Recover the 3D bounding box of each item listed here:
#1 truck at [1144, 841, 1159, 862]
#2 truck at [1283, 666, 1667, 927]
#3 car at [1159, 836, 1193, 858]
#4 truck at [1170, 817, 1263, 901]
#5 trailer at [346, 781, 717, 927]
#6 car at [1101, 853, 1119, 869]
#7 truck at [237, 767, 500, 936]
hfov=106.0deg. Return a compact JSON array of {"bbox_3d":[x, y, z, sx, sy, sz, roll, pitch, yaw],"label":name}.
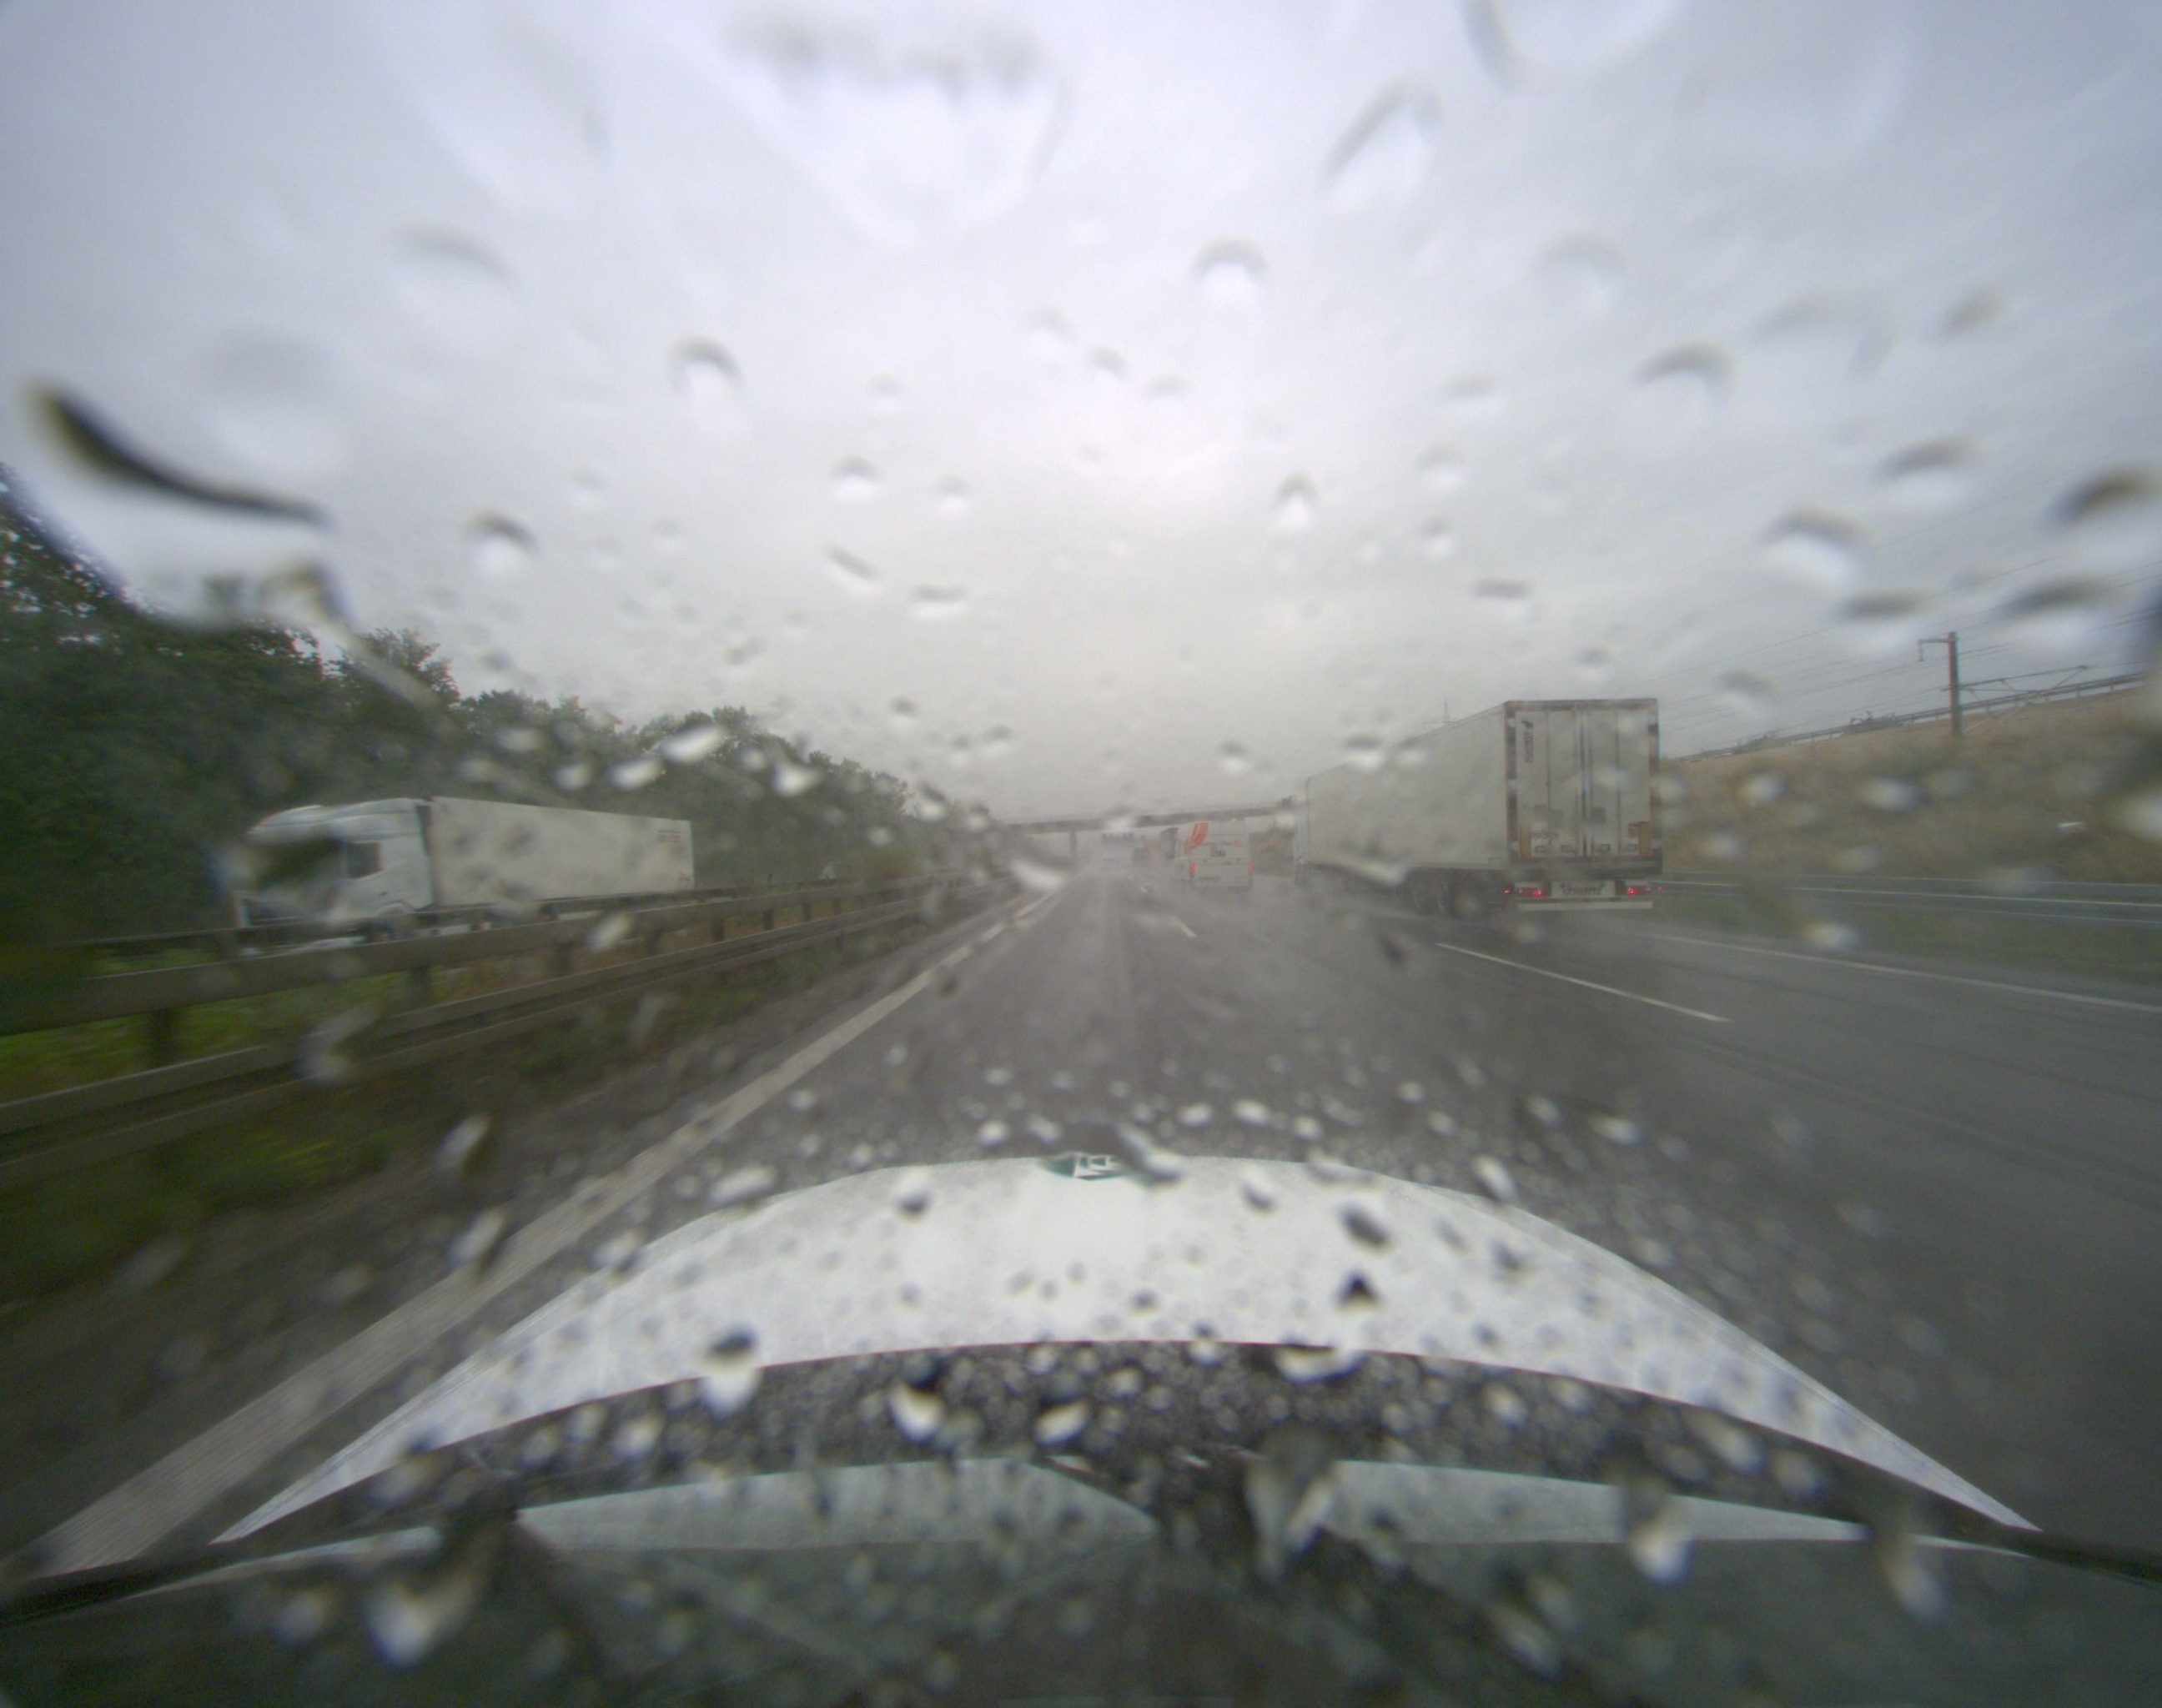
[{"bbox_3d":[12.199,-0.420,140.933,2.102,3.516,5.248,-1,1,0],"label":"truck"},{"bbox_3d":[8.998,-1.062,22.578,3.029,4.588,16.355,-1,0,1],"label":"truck"},{"bbox_3d":[9.047,-0.710,78.109,2.778,2.013,4.995,-1,1,2],"label":"car"},{"bbox_3d":[4.335,0.091,27.041,2.410,2.492,5.564,-1,1,3],"label":"truck"},{"bbox_3d":[-17.751,0.021,28.887,1.993,3.771,15.537,-1,0,3],"label":"trailer"},{"bbox_3d":[2.684,0.637,75.560,1.599,1.338,3.850,-1,1,2],"label":"car"},{"bbox_3d":[-18.038,-0.023,21.094,2.035,3.804,5.227,-1,-1,2],"label":"truck"}]
